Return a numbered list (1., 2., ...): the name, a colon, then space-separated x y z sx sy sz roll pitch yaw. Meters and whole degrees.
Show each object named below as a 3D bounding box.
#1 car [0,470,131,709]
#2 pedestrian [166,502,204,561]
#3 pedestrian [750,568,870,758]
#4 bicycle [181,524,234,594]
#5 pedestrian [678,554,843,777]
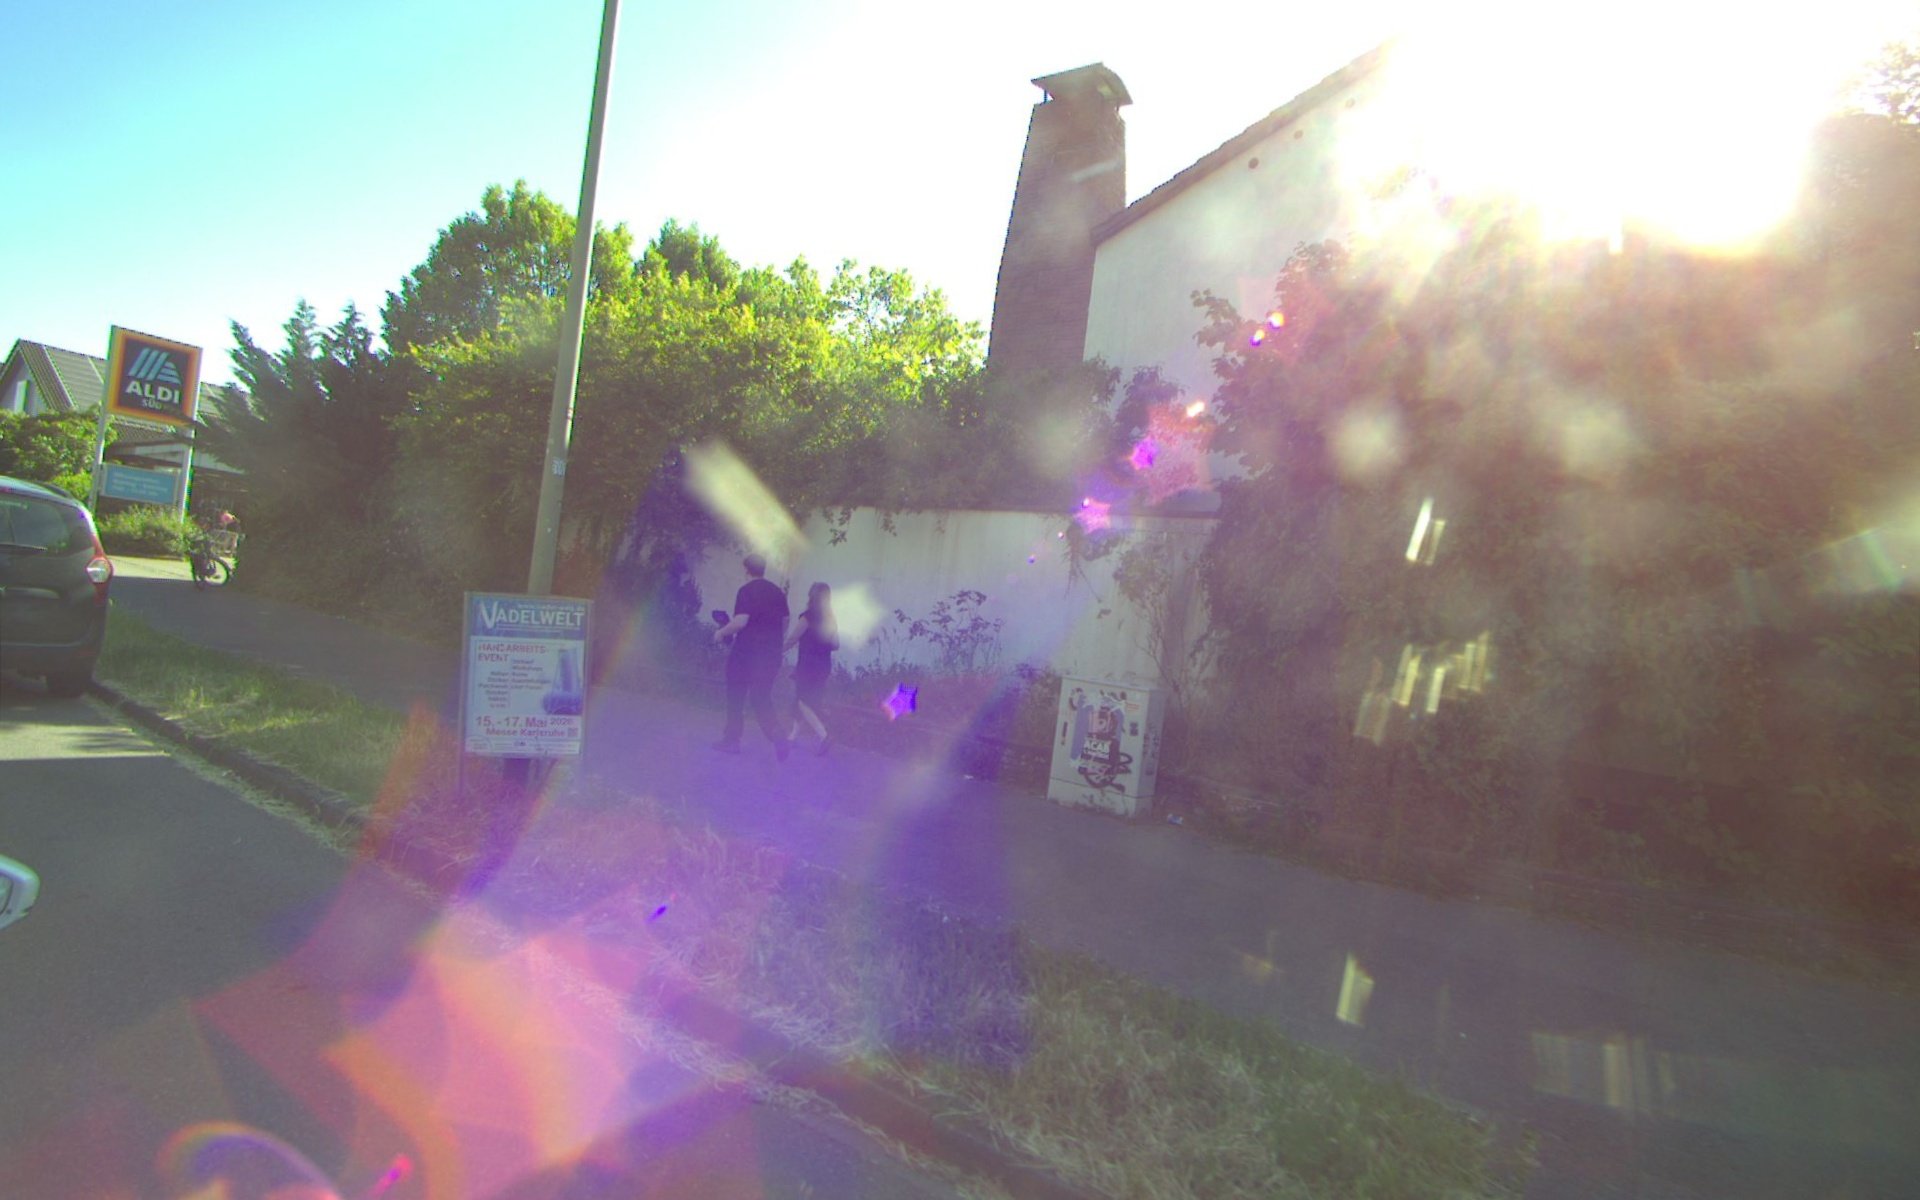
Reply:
1. car: -8.593 -0.289 8.220 4.286 1.676 1.725 7 -1 37
2. pedestrian: -23.391 -2.064 30.374 0.686 1.651 0.770 7 0 -32
3. pedestrian: -1.385 0.566 9.277 0.780 1.629 0.573 5 0 34
4. bicycle: -14.575 -0.803 19.502 0.716 1.236 1.877 5 0 -37
5. pedestrian: -1.701 0.534 8.607 0.968 1.738 0.804 5 0 34
